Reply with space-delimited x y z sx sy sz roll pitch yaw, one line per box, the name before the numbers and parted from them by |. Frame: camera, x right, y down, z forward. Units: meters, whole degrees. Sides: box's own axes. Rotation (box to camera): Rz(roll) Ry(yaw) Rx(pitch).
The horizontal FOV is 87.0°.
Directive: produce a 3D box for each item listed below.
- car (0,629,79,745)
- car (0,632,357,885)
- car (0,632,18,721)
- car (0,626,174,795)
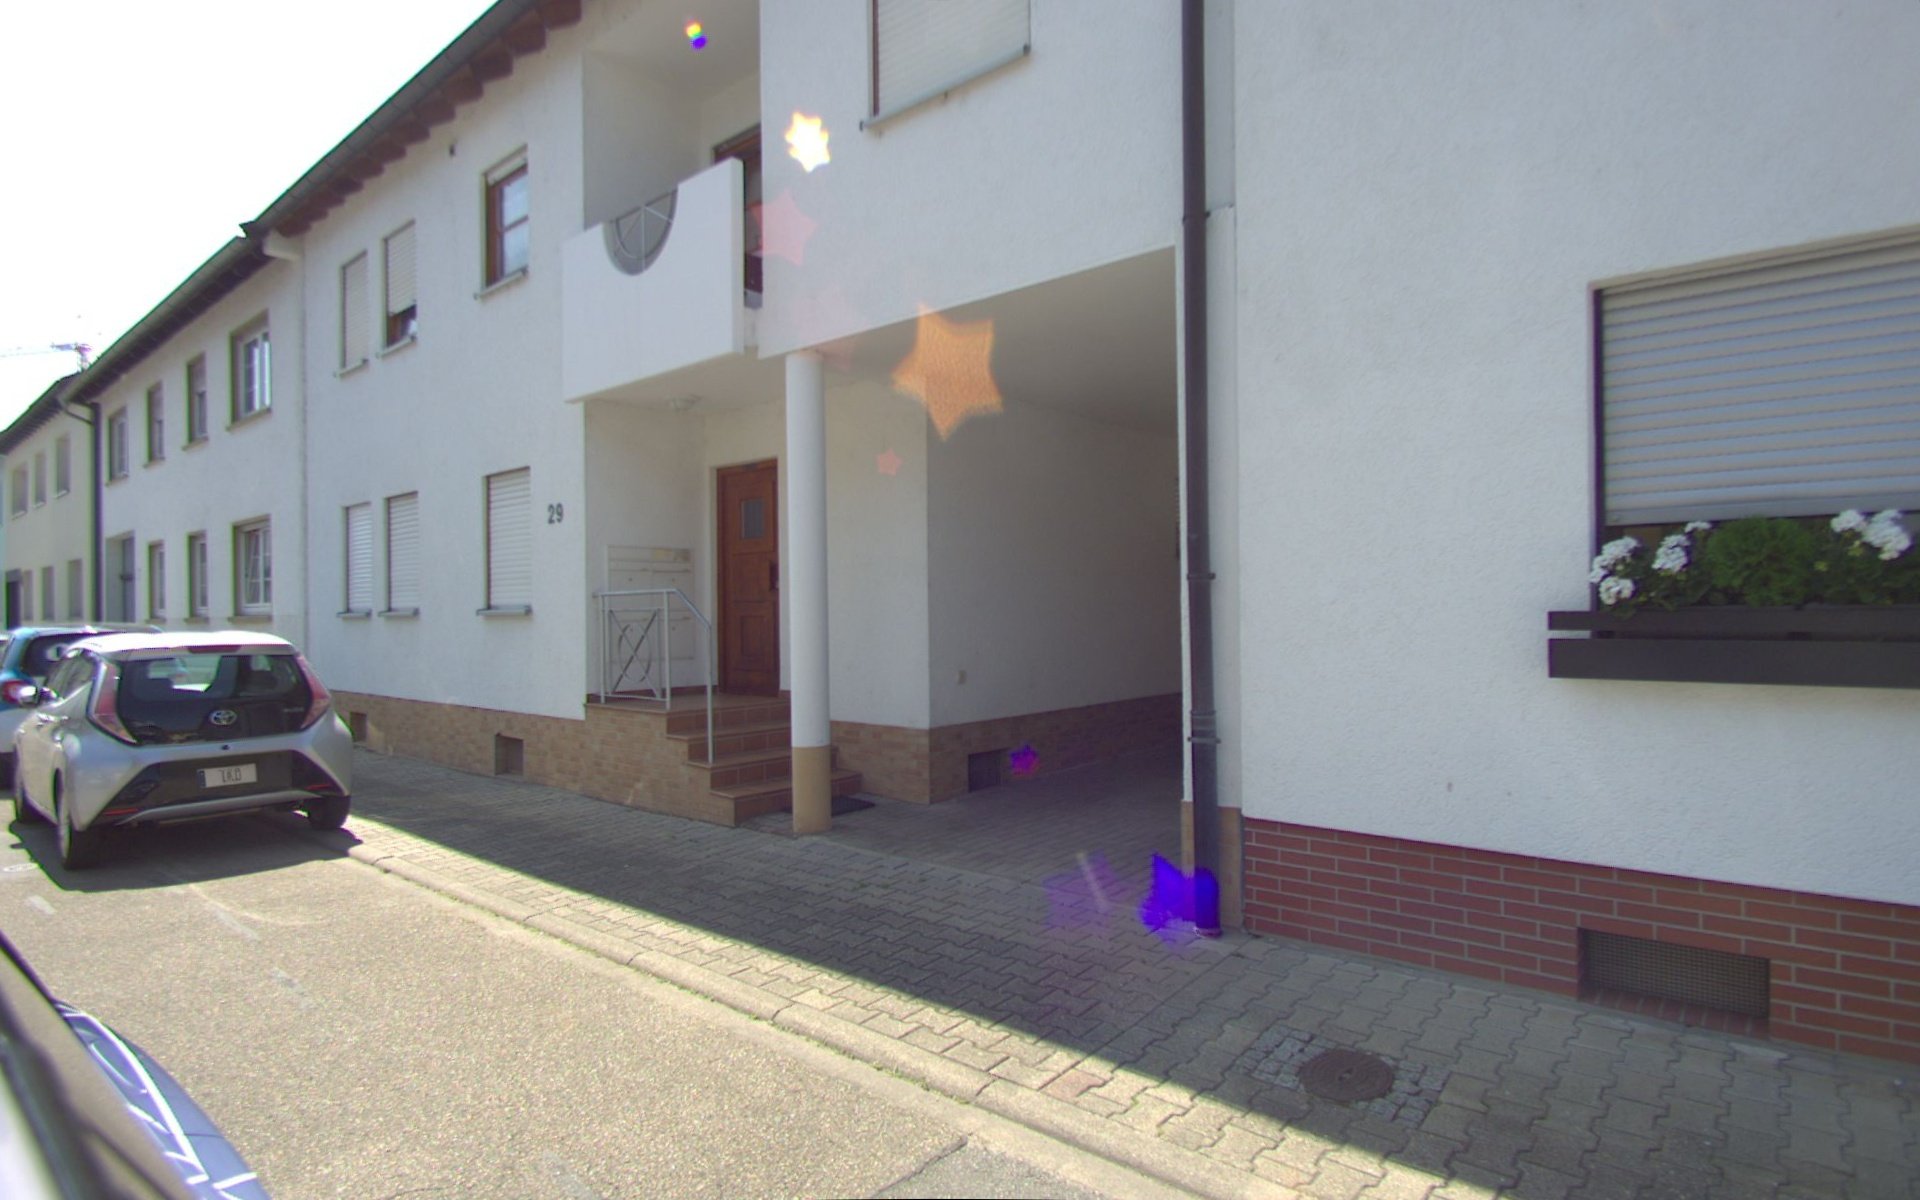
car | -13.473 1.149 14.077 3.461 1.466 1.396 -1 -2 42
car | -5.947 0.985 7.558 3.212 1.454 1.585 -2 -2 42
car | -17.597 1.303 17.625 3.541 1.466 1.396 -1 -2 42
car | -9.517 1.045 10.685 3.024 1.540 1.396 -1 -2 42
